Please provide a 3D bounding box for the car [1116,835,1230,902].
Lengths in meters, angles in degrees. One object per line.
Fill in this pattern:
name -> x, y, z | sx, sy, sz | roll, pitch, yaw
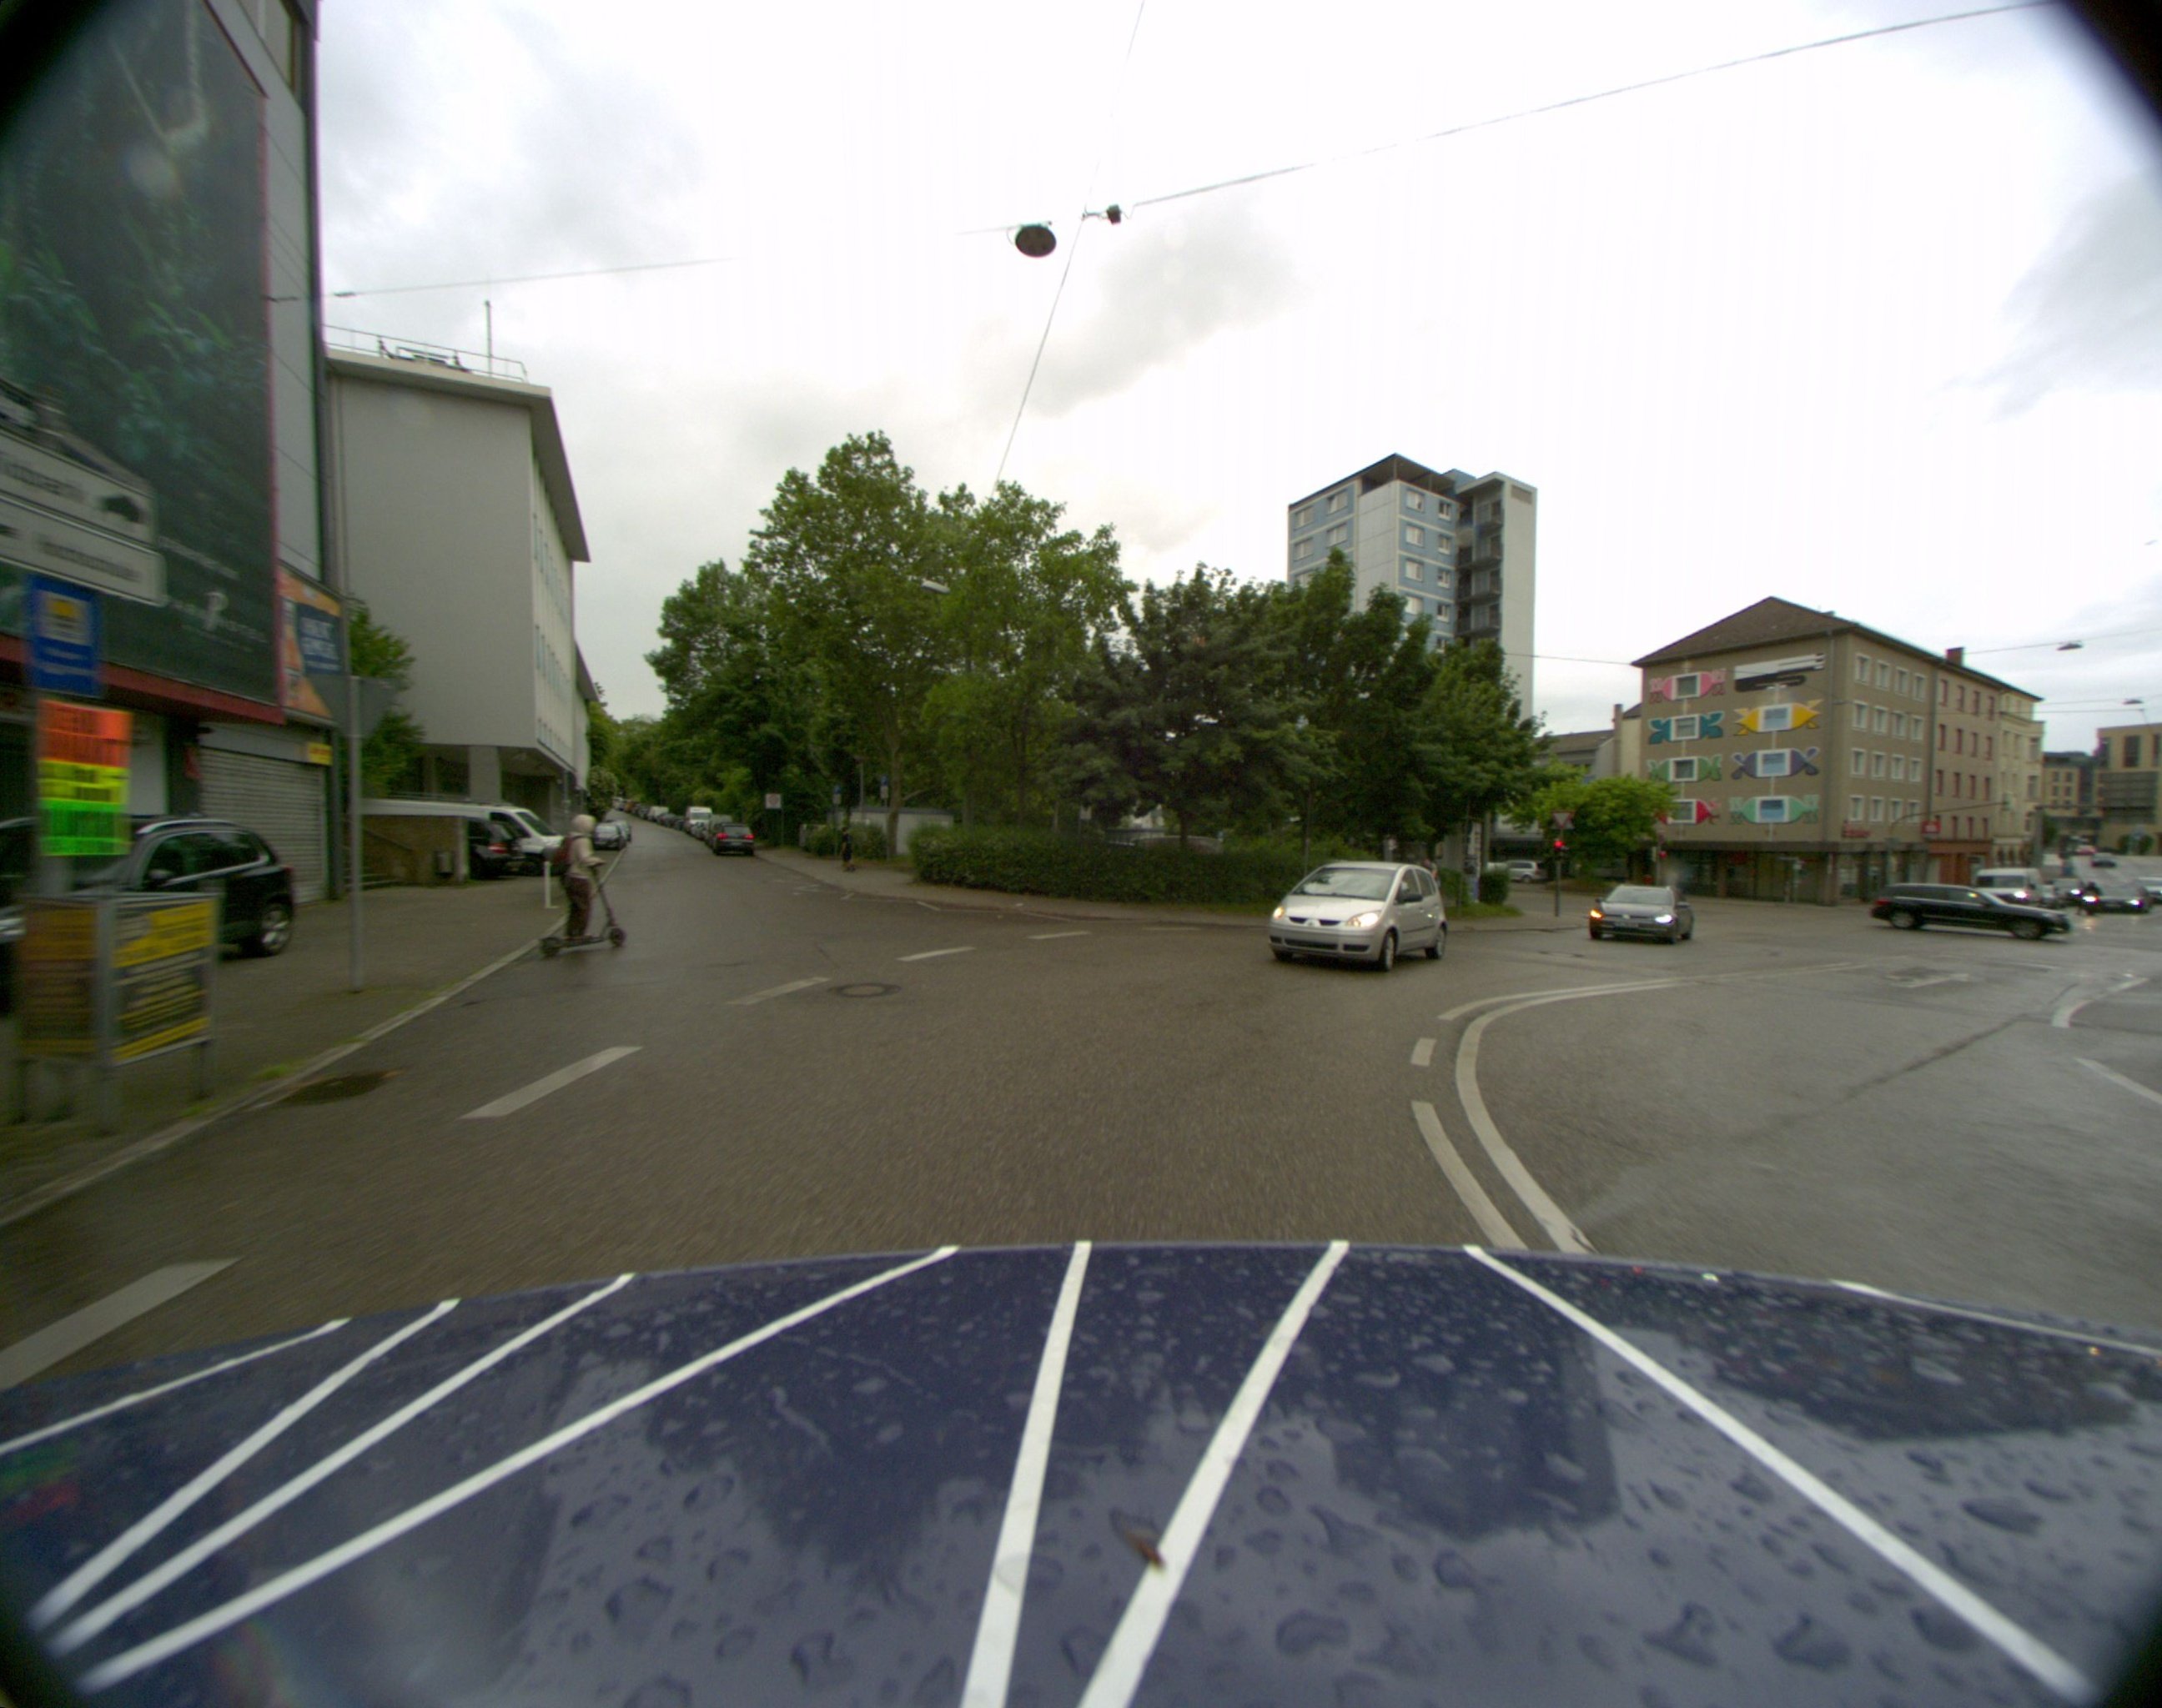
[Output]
car -> 2.868, 0.412, 24.618 | 1.640, 1.948, 4.202 | 3, 0, -25

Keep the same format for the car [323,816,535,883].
car -> -17.791, -0.135, 20.978 | 4.004, 1.683, 1.879 | 1, 3, -19

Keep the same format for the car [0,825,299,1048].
car -> -10.244, 0.611, 7.592 | 1.935, 1.702, 3.990 | 1, 3, -22

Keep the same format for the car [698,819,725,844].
car -> -30.583, -1.902, 62.808 | 1.912, 2.024, 3.989 | -1, 3, -27

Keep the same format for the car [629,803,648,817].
car -> -63.055, -6.295, 108.175 | 1.913, 1.930, 3.988 | -1, 3, -36

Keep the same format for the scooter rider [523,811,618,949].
scooter rider -> -7.040, 0.317, 10.497 | 0.802, 1.811, 0.783 | 3, 5, 34

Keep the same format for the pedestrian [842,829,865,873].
pedestrian -> -8.299, -0.119, 27.692 | 0.705, 1.559, 0.620 | -1, 4, -25

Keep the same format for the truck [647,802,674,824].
truck -> -52.831, -5.132, 95.420 | 2.055, 2.615, 3.987 | -2, 4, -43

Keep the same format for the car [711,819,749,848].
car -> -21.067, -1.267, 45.554 | 1.912, 1.642, 3.989 | -1, 3, -27

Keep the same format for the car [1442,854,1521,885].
car -> 27.054, 0.987, 51.466 | 1.994, 1.845, 4.219 | 0, 2, -28

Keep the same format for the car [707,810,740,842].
car -> -24.266, -1.890, 51.538 | 1.912, 2.064, 3.989 | -1, 3, -27

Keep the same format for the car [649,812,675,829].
car -> -49.080, -3.966, 88.946 | 1.913, 1.930, 3.987 | -2, 3, -39

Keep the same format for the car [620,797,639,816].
car -> -68.242, -7.197, 114.820 | 1.913, 2.775, 3.988 | -1, 3, -36

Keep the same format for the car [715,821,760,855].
car -> -17.881, -0.864, 39.494 | 1.912, 1.642, 3.989 | -1, 3, -27

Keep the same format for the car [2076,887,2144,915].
car -> 56.984, 2.562, 42.072 | 3.575, 1.411, 1.846 | 1, -1, -30

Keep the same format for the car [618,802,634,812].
car -> -72.177, -7.388, 120.548 | 1.803, 1.502, 3.988 | -1, 3, -37

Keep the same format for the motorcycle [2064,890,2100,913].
motorcycle -> 52.172, 2.446, 39.588 | 1.803, 1.093, 0.877 | 0, 2, -30

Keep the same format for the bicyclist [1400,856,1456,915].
bicyclist -> 9.346, 0.831, 20.482 | 0.970, 1.481, 0.886 | 2, 4, -34

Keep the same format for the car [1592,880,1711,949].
car -> 15.183, 1.515, 20.126 | 4.512, 1.496, 1.683 | 1, 1, -43

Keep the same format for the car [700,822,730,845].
car -> -27.617, -1.597, 57.261 | 1.912, 1.642, 3.989 | -1, 3, -27

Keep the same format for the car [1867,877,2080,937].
car -> 31.188, 1.774, 26.724 | 1.995, 1.570, 4.568 | 0, 2, -33

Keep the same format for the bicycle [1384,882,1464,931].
bicycle -> 9.259, 1.384, 20.479 | 2.138, 1.181, 0.886 | 2, 3, -34

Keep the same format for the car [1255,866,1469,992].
car -> 4.434, 0.983, 11.656 | 1.682, 1.496, 3.847 | 4, 2, 42

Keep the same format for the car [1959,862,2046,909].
car -> 52.125, 1.726, 42.954 | 5.480, 2.509, 2.227 | 1, 0, -30

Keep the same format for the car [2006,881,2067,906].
car -> 59.336, 2.422, 47.177 | 3.575, 1.469, 1.846 | 1, -1, -30

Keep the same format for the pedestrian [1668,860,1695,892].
pedestrian -> 34.816, 1.275, 44.072 | 0.819, 1.764, 0.901 | 0, 3, -31

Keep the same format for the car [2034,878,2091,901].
car -> 65.070, 2.335, 50.380 | 3.575, 1.411, 1.846 | 1, -1, -30

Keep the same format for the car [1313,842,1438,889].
car -> 11.250, 0.408, 29.301 | 1.641, 1.612, 4.200 | 3, 0, -35

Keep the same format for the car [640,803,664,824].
car -> -56.321, -5.285, 99.720 | 1.795, 2.615, 3.987 | -2, 4, -42

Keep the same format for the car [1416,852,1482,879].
car -> 27.627, 0.804, 57.126 | 1.653, 1.657, 4.174 | -2, 5, -31

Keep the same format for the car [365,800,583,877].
car -> -18.479, -0.460, 23.450 | 4.897, 2.199, 1.879 | 1, 3, -19

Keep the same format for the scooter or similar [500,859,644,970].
scooter or similar -> -7.032, 0.789, 10.555 | 0.802, 1.316, 1.411 | 3, 5, 34

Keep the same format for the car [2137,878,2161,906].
car -> 70.935, 2.474, 49.697 | 3.575, 1.704, 1.846 | 1, -1, -30

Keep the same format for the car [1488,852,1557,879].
car -> 33.059, 0.792, 56.996 | 1.653, 1.657, 4.174 | -2, 5, -31

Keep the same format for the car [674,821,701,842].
car -> -39.990, -2.336, 77.229 | 1.912, 2.024, 3.988 | -1, 3, -34

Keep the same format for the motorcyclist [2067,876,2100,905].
motorcyclist -> 52.203, 1.893, 39.573 | 0.797, 1.471, 0.877 | 0, 2, -30

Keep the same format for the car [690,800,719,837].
car -> -34.650, -3.299, 69.914 | 2.226, 3.265, 5.066 | -1, 3, -27

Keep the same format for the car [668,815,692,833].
car -> -44.794, -3.400, 84.750 | 1.912, 1.930, 3.988 | -1, 3, -34

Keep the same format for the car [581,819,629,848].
car -> -26.551, -1.162, 42.480 | 1.912, 1.494, 3.989 | -1, 3, -27
